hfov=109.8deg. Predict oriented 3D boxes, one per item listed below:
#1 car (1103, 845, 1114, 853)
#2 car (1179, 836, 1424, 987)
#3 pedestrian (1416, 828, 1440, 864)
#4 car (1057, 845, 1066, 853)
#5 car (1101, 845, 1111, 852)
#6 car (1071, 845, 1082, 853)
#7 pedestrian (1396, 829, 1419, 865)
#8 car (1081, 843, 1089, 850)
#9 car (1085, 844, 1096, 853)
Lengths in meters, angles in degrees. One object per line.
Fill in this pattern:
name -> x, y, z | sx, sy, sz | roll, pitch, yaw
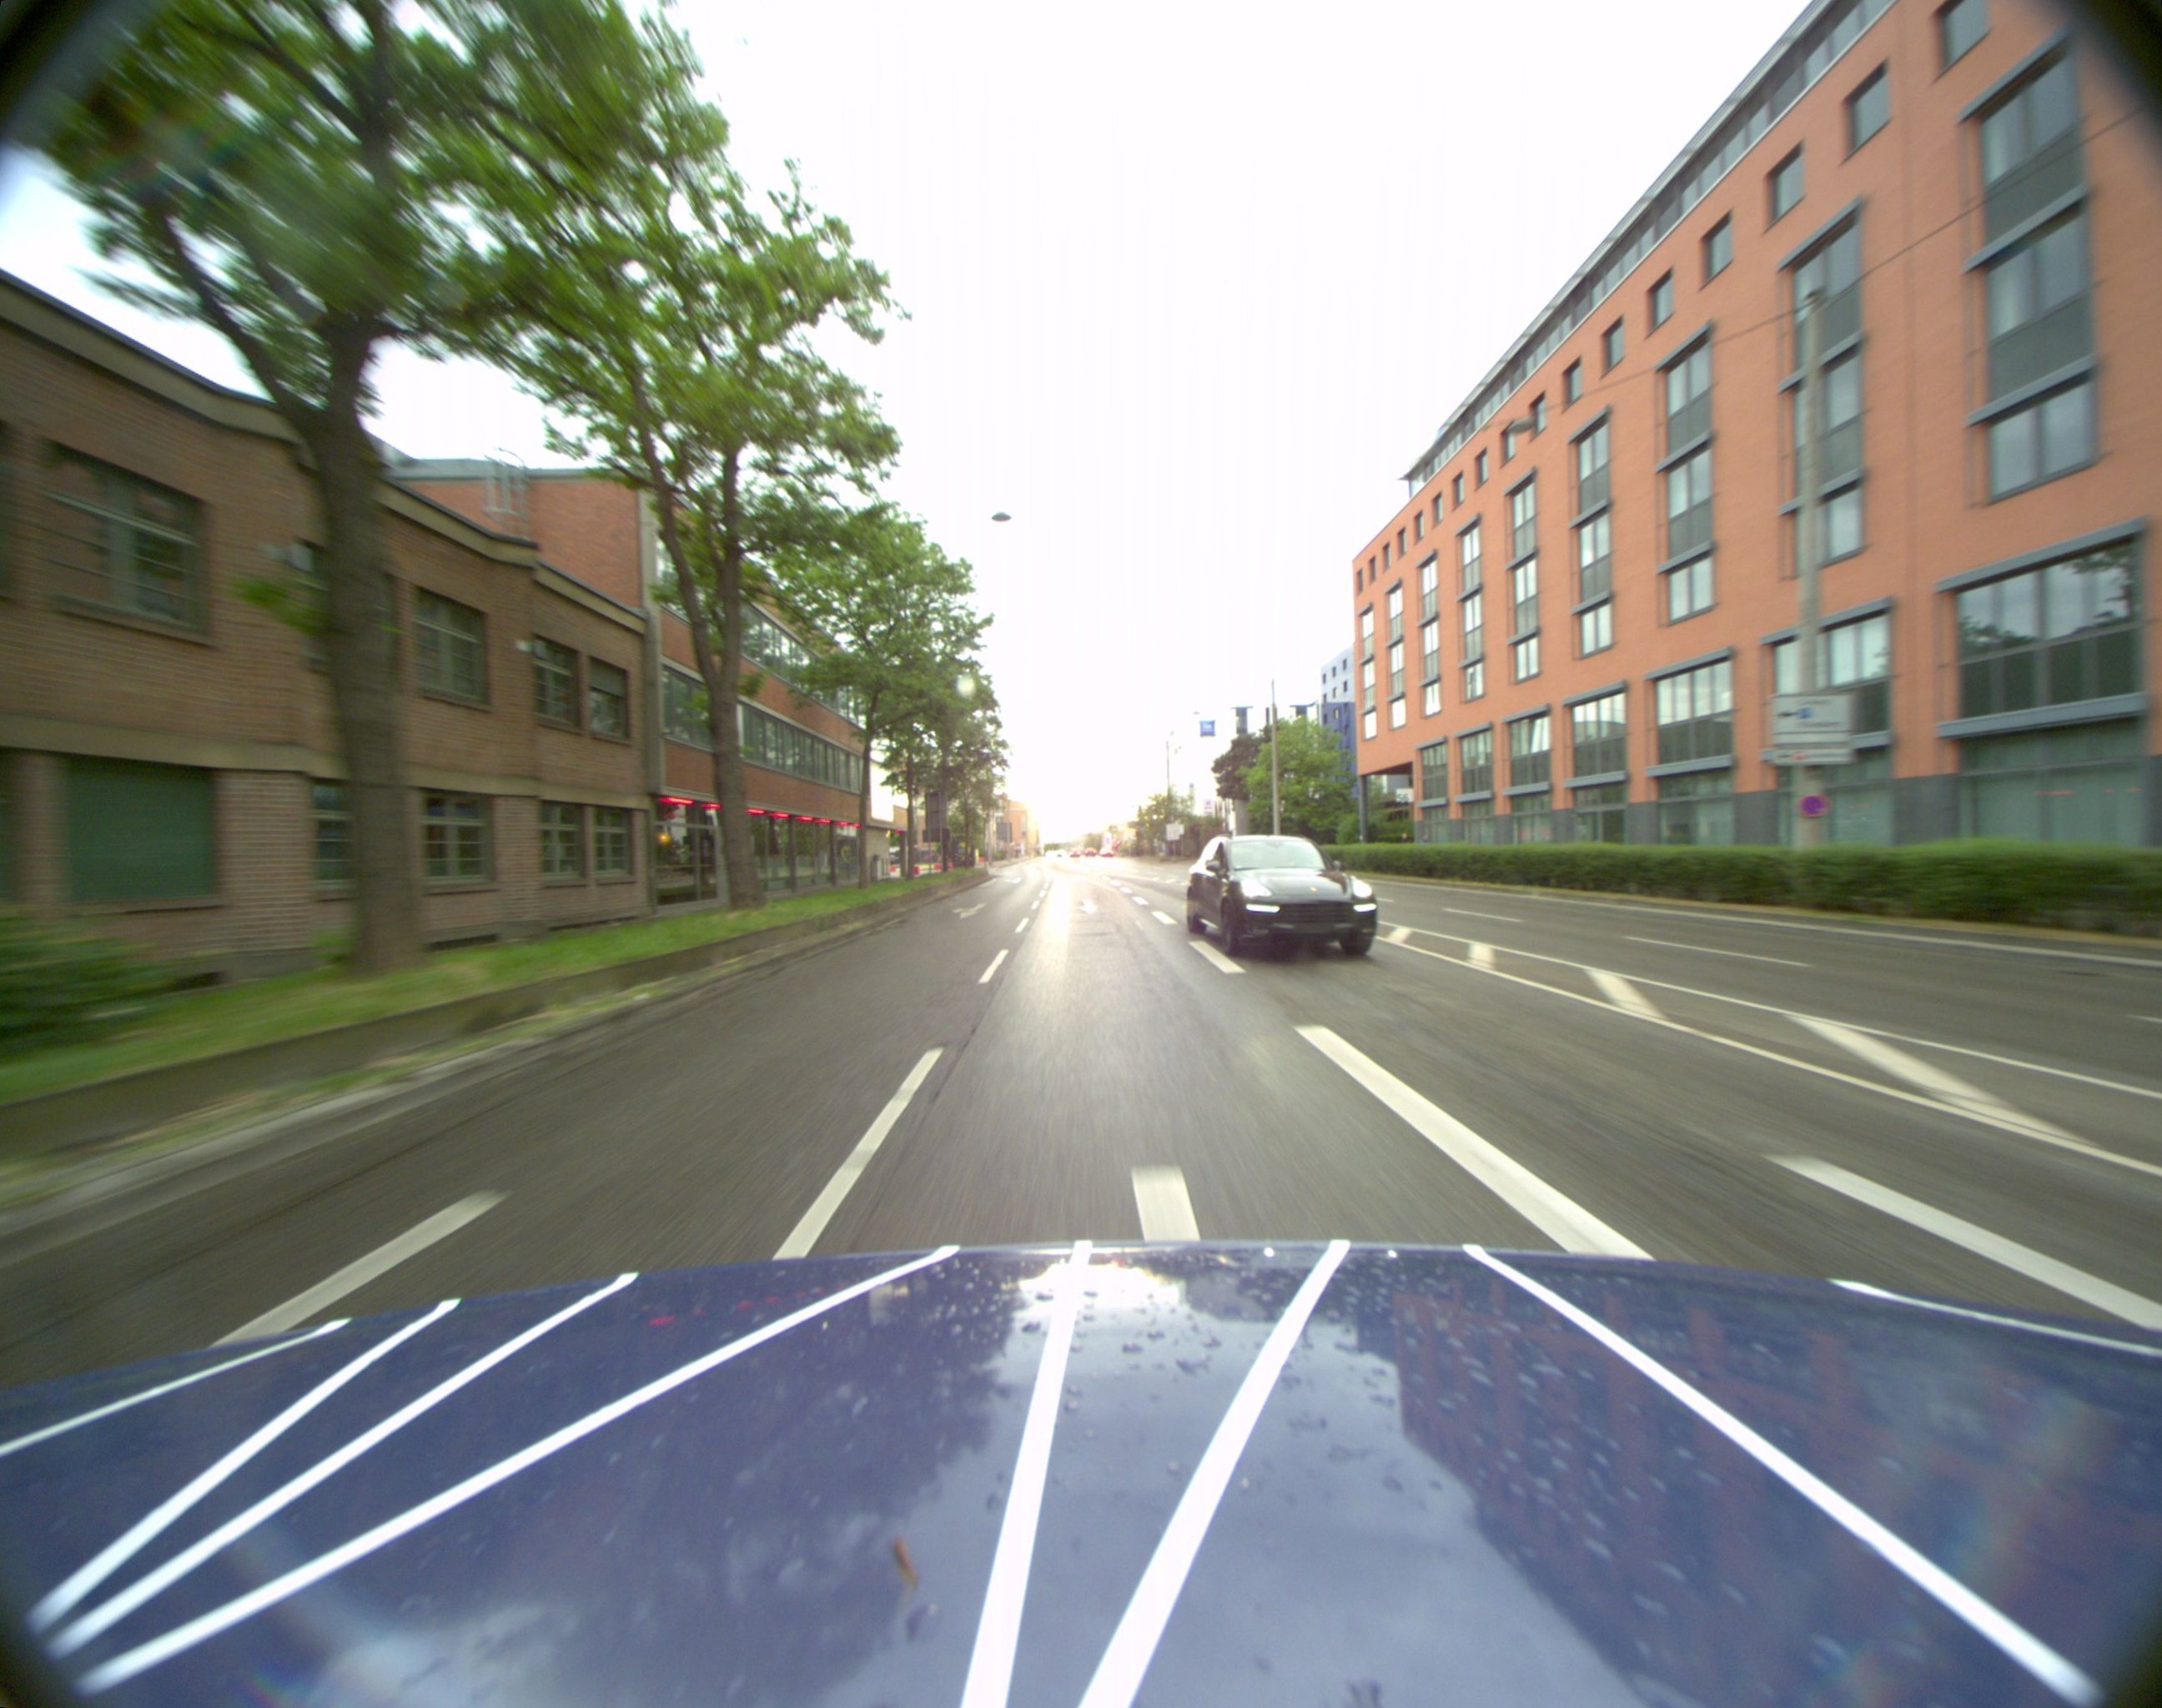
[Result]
car -> 5.237, -0.996, 143.450 | 1.767, 1.559, 3.998 | 0, 1, -3
car -> 2.856, 0.631, 11.328 | 1.999, 1.656, 5.423 | -1, 1, -1
pedestrian -> 18.064, -0.422, 39.534 | 0.747, 1.830, 0.885 | -3, 1, -1
car -> -4.152, -1.035, 160.049 | 1.799, 1.501, 4.000 | -1, 0, -1
car -> 5.222, -1.203, 160.683 | 1.767, 1.559, 3.998 | 0, 1, -2
car -> -0.862, -0.944, 144.331 | 1.999, 1.543, 3.999 | -2, 1, -1
pedestrian -> 17.044, -0.387, 39.704 | 0.747, 1.830, 0.885 | -3, 1, -1
car -> 1.101, -1.900, 195.028 | 1.999, 1.543, 3.999 | -2, 1, -1
car -> 1.921, -1.101, 152.343 | 1.999, 1.543, 3.999 | -2, 1, -1
